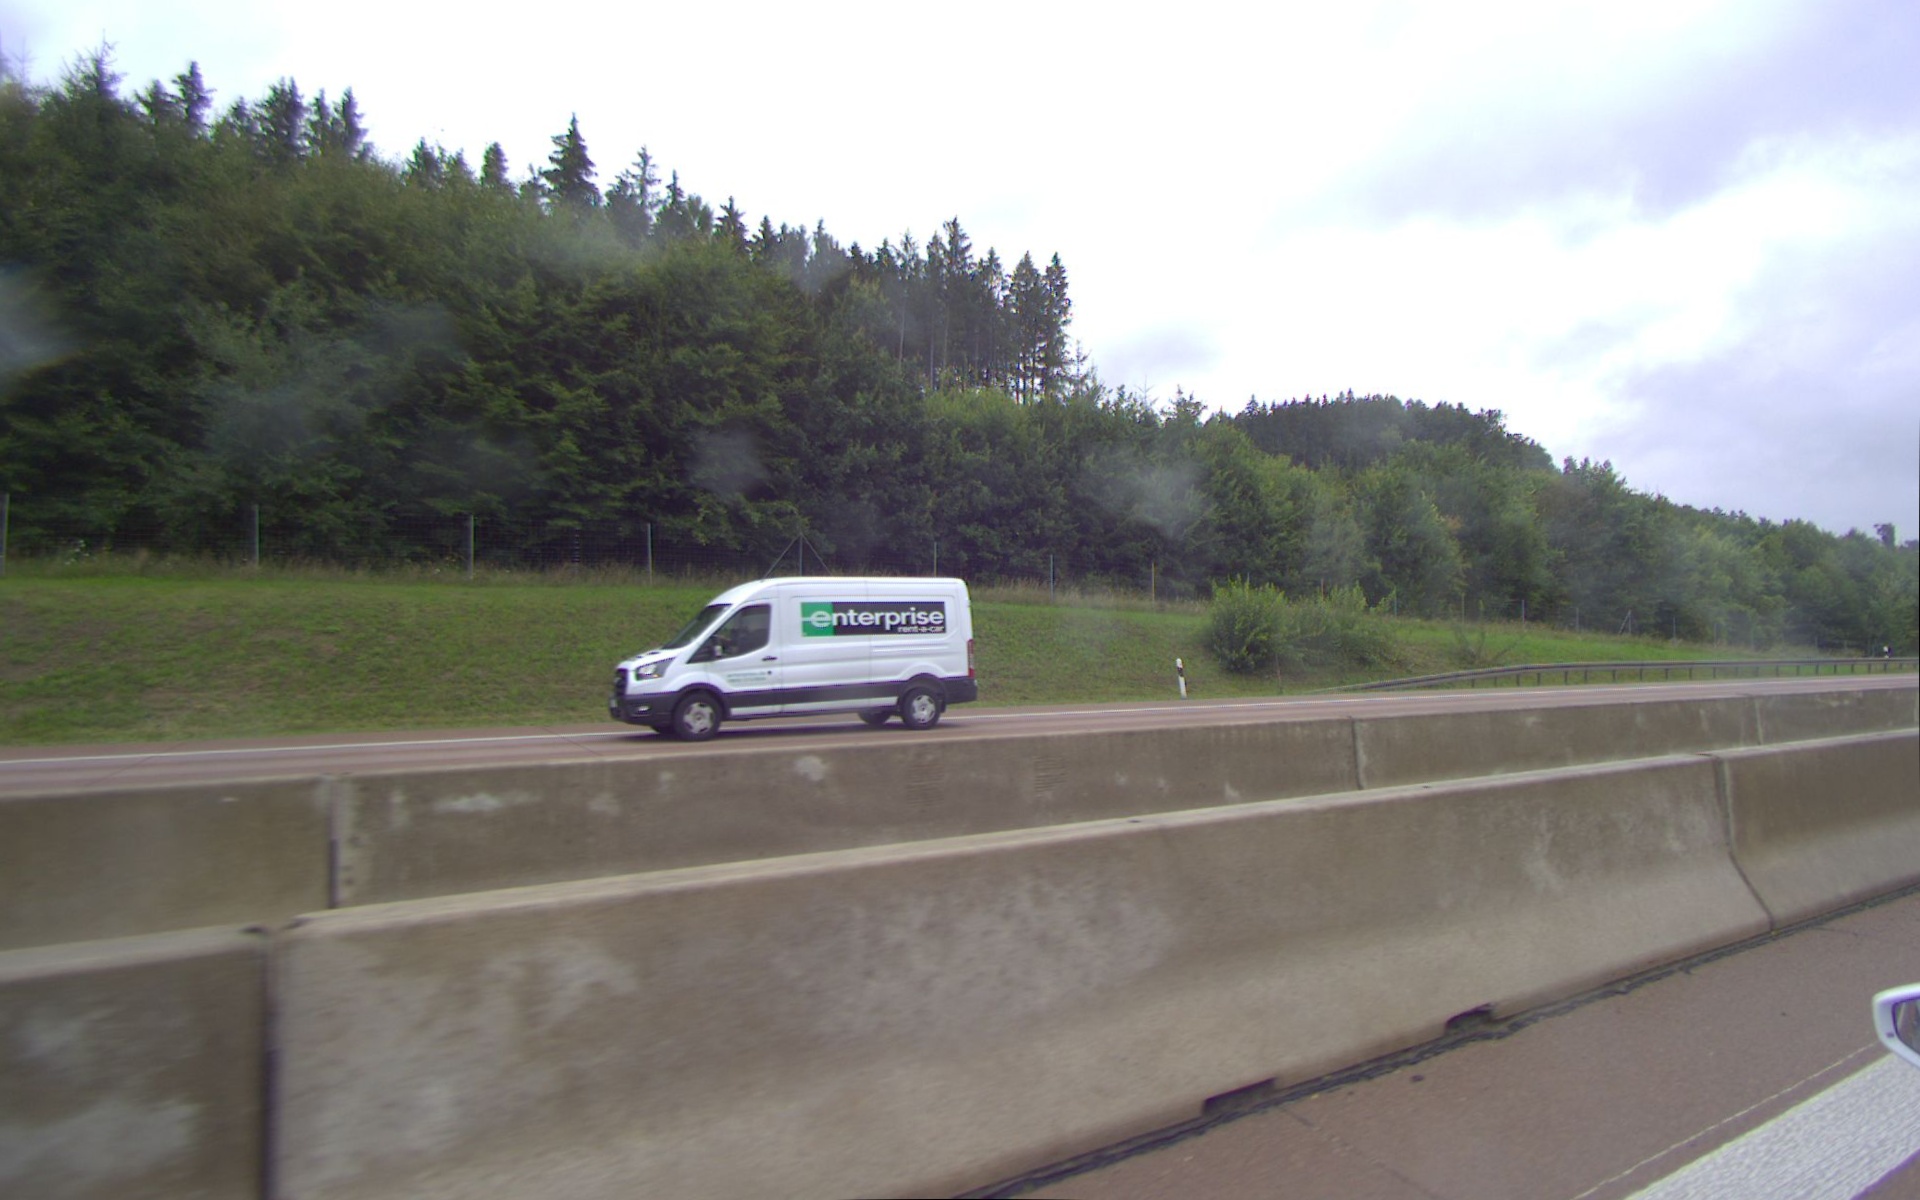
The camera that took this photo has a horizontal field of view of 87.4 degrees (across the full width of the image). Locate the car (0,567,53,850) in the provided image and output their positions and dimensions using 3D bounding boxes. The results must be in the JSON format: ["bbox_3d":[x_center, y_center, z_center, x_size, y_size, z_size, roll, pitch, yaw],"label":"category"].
[{"bbox_3d":[-8.268,0.664,5.412,4.631,1.851,1.984,1,-1,-30],"label":"car"}]

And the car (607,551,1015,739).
[{"bbox_3d":[-2.329,0.747,16.470,6.181,2.618,2.213,3,-1,-30],"label":"car"}]
